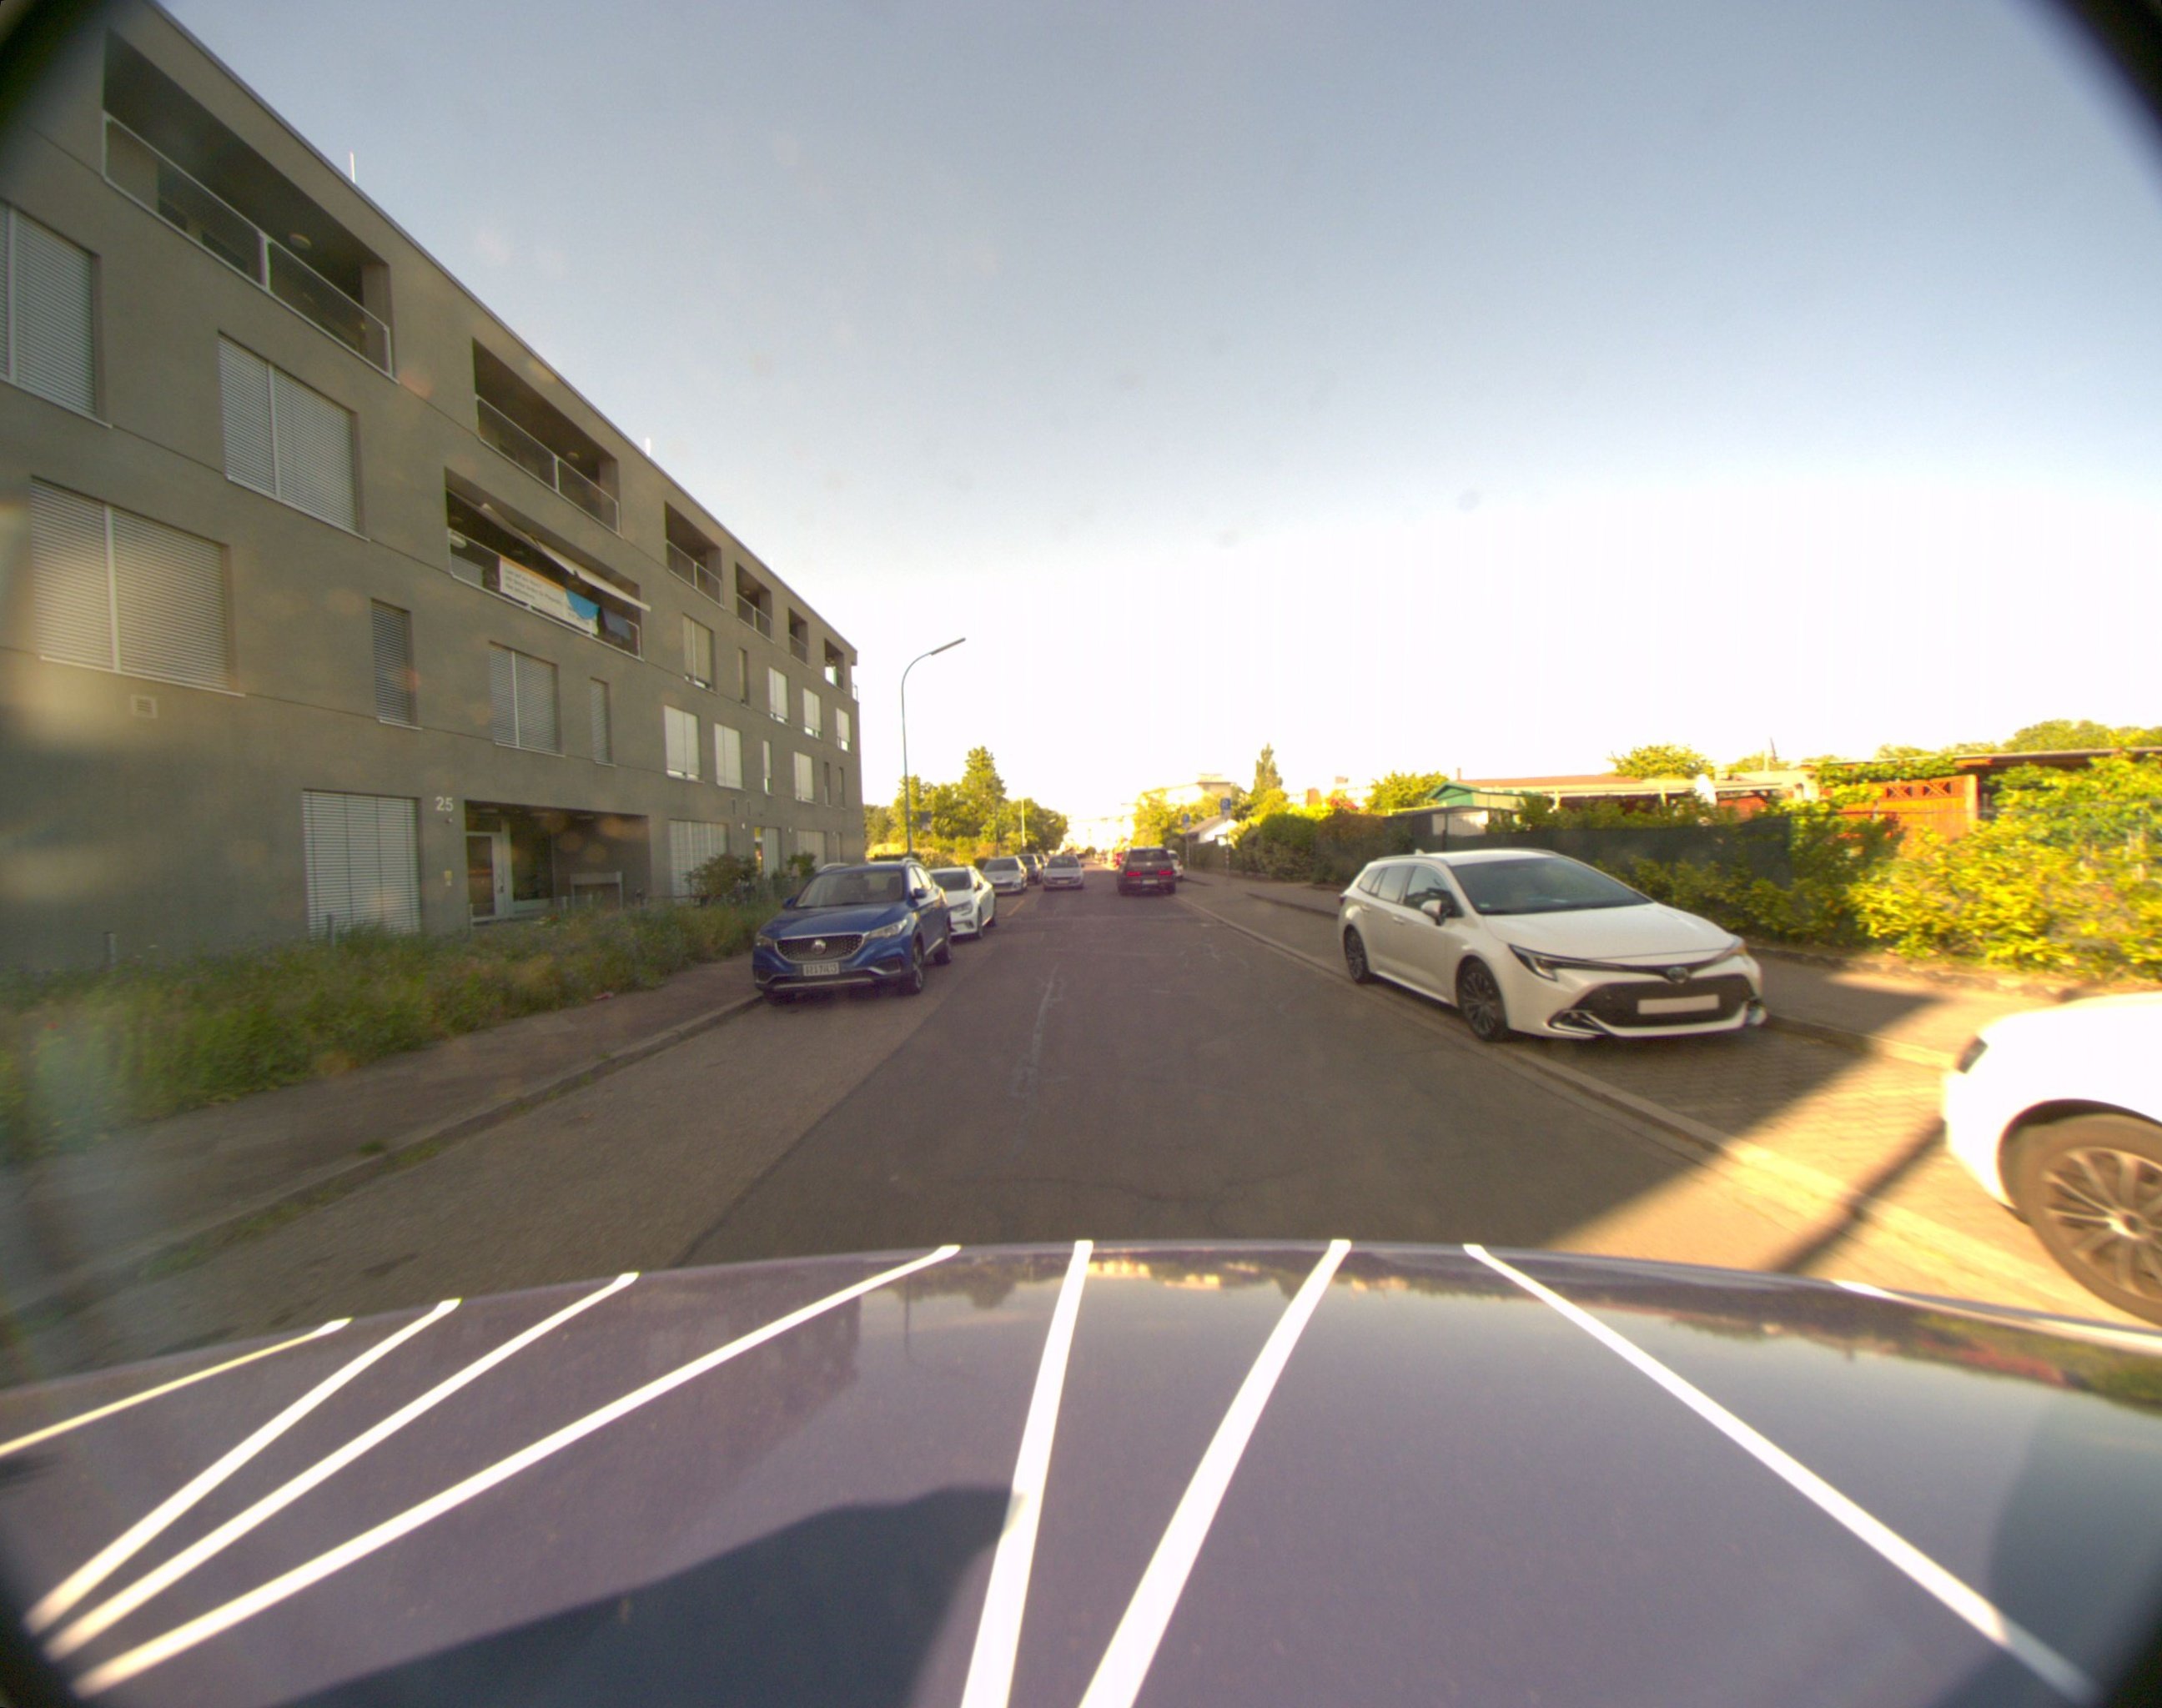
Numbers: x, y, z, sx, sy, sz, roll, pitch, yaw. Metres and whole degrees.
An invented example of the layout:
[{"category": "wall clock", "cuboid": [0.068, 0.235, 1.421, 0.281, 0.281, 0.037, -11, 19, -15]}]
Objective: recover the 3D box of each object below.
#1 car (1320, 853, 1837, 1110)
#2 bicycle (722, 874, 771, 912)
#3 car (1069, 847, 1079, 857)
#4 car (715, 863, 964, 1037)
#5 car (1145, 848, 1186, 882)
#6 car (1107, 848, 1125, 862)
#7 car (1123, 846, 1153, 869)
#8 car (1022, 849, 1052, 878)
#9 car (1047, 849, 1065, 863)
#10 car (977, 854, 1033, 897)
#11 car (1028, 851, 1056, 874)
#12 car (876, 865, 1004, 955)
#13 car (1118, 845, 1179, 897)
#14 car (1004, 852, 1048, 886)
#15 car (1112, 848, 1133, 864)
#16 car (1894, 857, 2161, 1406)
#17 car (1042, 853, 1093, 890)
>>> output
[{"category": "car", "cuboid": [3.857, 0.806, 7.068, 1.751, 1.437, 4.540, -5, 1, 0]}, {"category": "bicycle", "cuboid": [-10.533, 1.208, 23.997, 0.553, 1.055, 1.842, -3, 1, 4]}, {"category": "car", "cuboid": [-1.578, -0.387, 165.543, 1.999, 2.002, 3.999, -2, 1, 0]}, {"category": "car", "cuboid": [-2.843, 1.012, 10.160, 1.822, 1.590, 4.626, -4, 0, -1]}, {"category": "car", "cuboid": [4.018, 0.507, 36.630, 1.531, 1.479, 3.401, -3, 1, 0]}, {"category": "car", "cuboid": [3.759, 0.071, 82.118, 1.700, 1.361, 3.910, -2, 1, 0]}, {"category": "car", "cuboid": [4.052, 0.233, 54.325, 1.700, 1.415, 4.516, -4, 1, 0]}, {"category": "car", "cuboid": [-2.901, 0.614, 50.624, 1.711, 1.695, 4.348, -5, 1, -1]}, {"category": "car", "cuboid": [-2.968, 0.222, 90.999, 1.873, 1.517, 4.154, -3, 1, 1]}, {"category": "car", "cuboid": [-3.050, 0.823, 31.216, 1.711, 1.517, 4.154, -3, 1, 1]}, {"category": "car", "cuboid": [-2.815, 0.584, 55.463, 1.711, 1.517, 3.092, -5, 1, 1]}, {"category": "car", "cuboid": [-2.820, 1.064, 16.230, 1.749, 1.421, 4.585, -4, 0, 0]}, {"category": "car", "cuboid": [2.390, 0.564, 28.138, 1.947, 1.717, 4.838, 0, 0, 1]}, {"category": "car", "cuboid": [-2.827, 0.739, 40.251, 1.749, 1.558, 4.803, -4, 1, 2]}, {"category": "car", "cuboid": [3.926, 0.177, 72.406, 1.700, 1.421, 4.385, -2, 0, 0]}, {"category": "car", "cuboid": [3.918, 0.789, 0.568, 1.700, 1.504, 4.516, -4, 1, 0]}, {"category": "car", "cuboid": [-0.543, 0.713, 33.282, 1.678, 1.440, 4.001, -2, 1, 6]}]
